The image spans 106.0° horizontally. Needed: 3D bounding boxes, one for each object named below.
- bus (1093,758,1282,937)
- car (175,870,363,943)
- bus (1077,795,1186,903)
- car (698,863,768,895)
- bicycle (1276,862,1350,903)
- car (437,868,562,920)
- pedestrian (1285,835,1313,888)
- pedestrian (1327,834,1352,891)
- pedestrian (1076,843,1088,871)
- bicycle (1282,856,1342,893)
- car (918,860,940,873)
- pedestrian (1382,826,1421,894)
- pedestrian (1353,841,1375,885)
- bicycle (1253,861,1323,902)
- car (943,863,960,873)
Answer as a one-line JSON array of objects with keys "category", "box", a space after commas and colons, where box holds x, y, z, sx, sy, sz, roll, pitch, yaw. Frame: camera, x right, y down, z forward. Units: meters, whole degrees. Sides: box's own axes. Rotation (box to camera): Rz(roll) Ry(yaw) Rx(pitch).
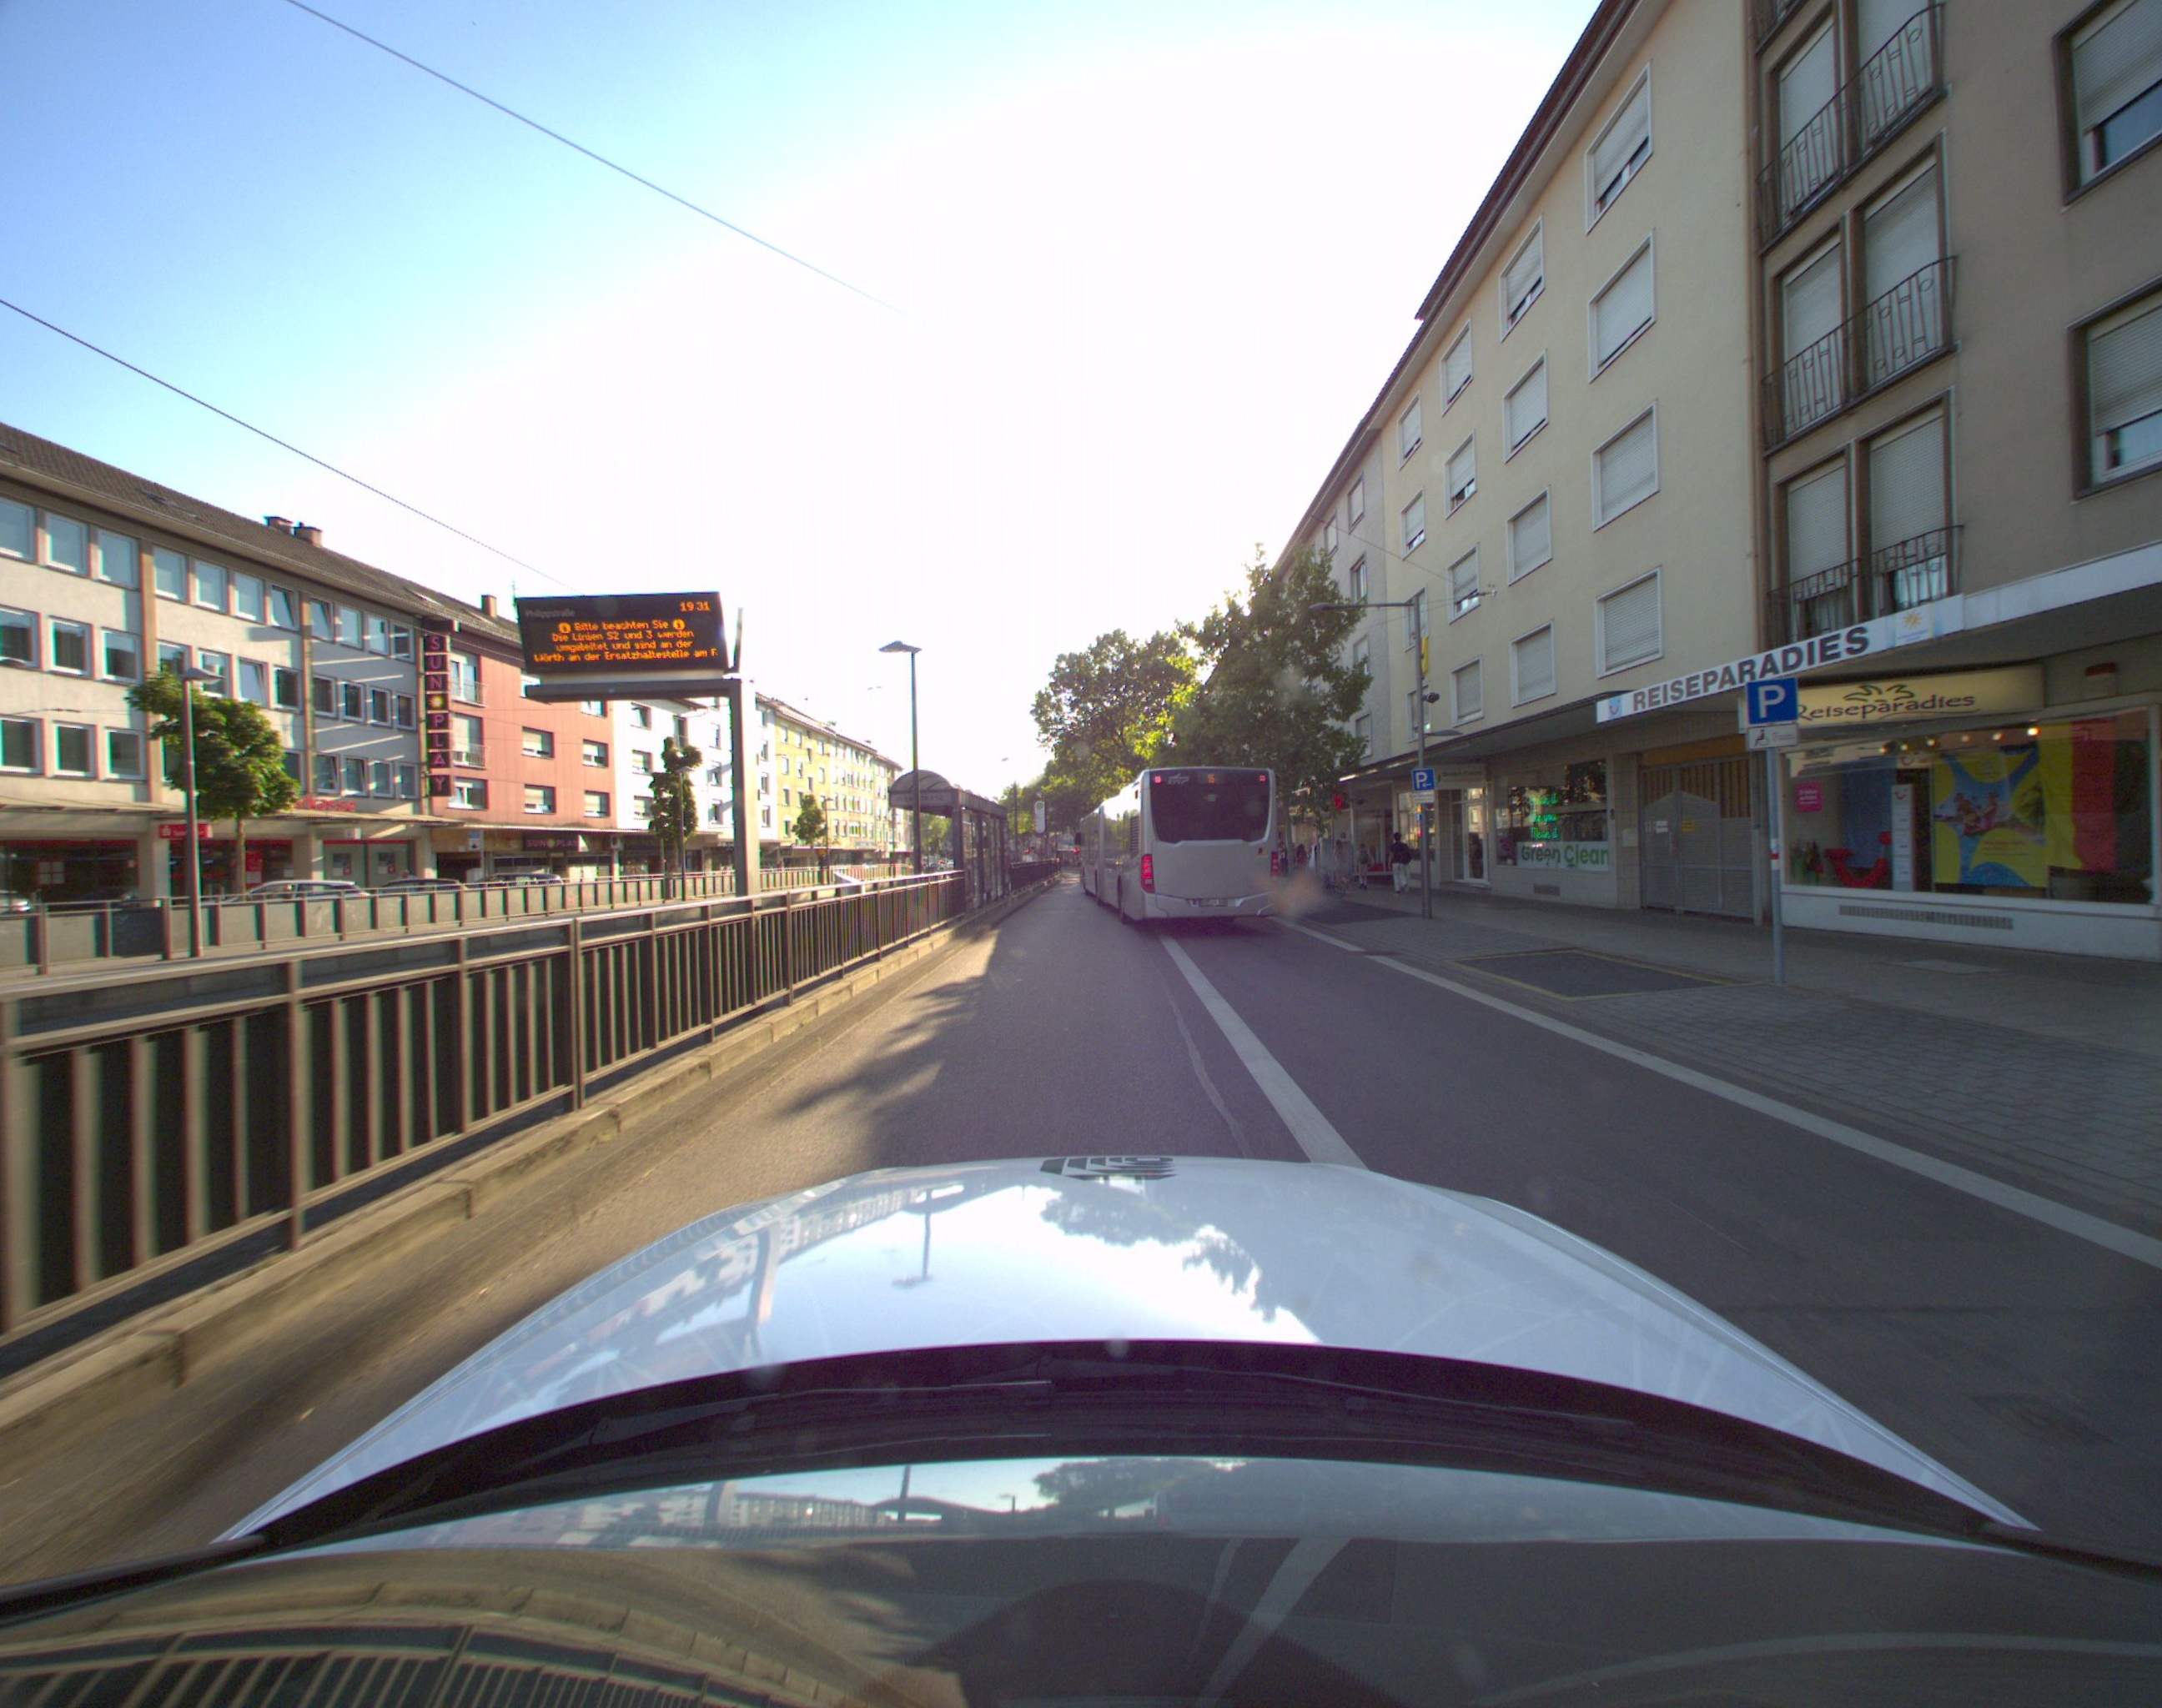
[{"category": "bus", "box": [1.946, -0.137, 19.006, 2.691, 3.118, 9.370, -1, 0, -3]}, {"category": "car", "box": [-22.324, 1.375, 22.480, 1.748, 1.679, 3.532, -2, 0, 42]}, {"category": "bus", "box": [1.458, -0.150, 28.238, 2.691, 3.118, 9.059, -1, 0, -3]}, {"category": "car", "box": [-21.712, 1.526, 50.877, 3.532, 1.679, 1.749, -6, 4, -44]}, {"category": "bicycle", "box": [6.486, 0.789, 22.834, 1.778, 0.942, 0.793, -5, 0, -4]}, {"category": "car", "box": [-21.583, 1.443, 30.277, 3.531, 1.679, 1.749, -2, 0, -44]}, {"category": "pedestrian", "box": [7.588, 0.265, 28.354, 0.721, 1.795, 0.767, -2, 0, 1]}, {"category": "pedestrian", "box": [8.387, 0.271, 26.445, 0.562, 1.795, 0.767, -2, 0, 1]}, {"category": "pedestrian", "box": [0.109, 0.268, 74.230, 0.884, 2.546, 1.166, -2, 0, 8]}, {"category": "bicycle", "box": [6.828, 0.600, 24.039, 1.702, 0.942, 0.646, -1, -9, -34]}, {"category": "car", "box": [-19.686, 1.591, 105.739, 1.986, 1.651, 4.001, -2, 0, 1]}, {"category": "pedestrian", "box": [8.738, 0.159, 22.242, 0.721, 1.795, 0.767, -2, 0, 1]}, {"category": "pedestrian", "box": [9.076, 0.284, 26.141, 0.473, 1.394, 0.612, -2, 0, 1]}, {"category": "bicycle", "box": [6.215, 0.814, 24.414, 1.794, 0.630, 0.930, -5, -34, -30]}, {"category": "car", "box": [-20.792, 2.240, 131.047, 1.986, 1.651, 4.001, -2, 0, 1]}]
